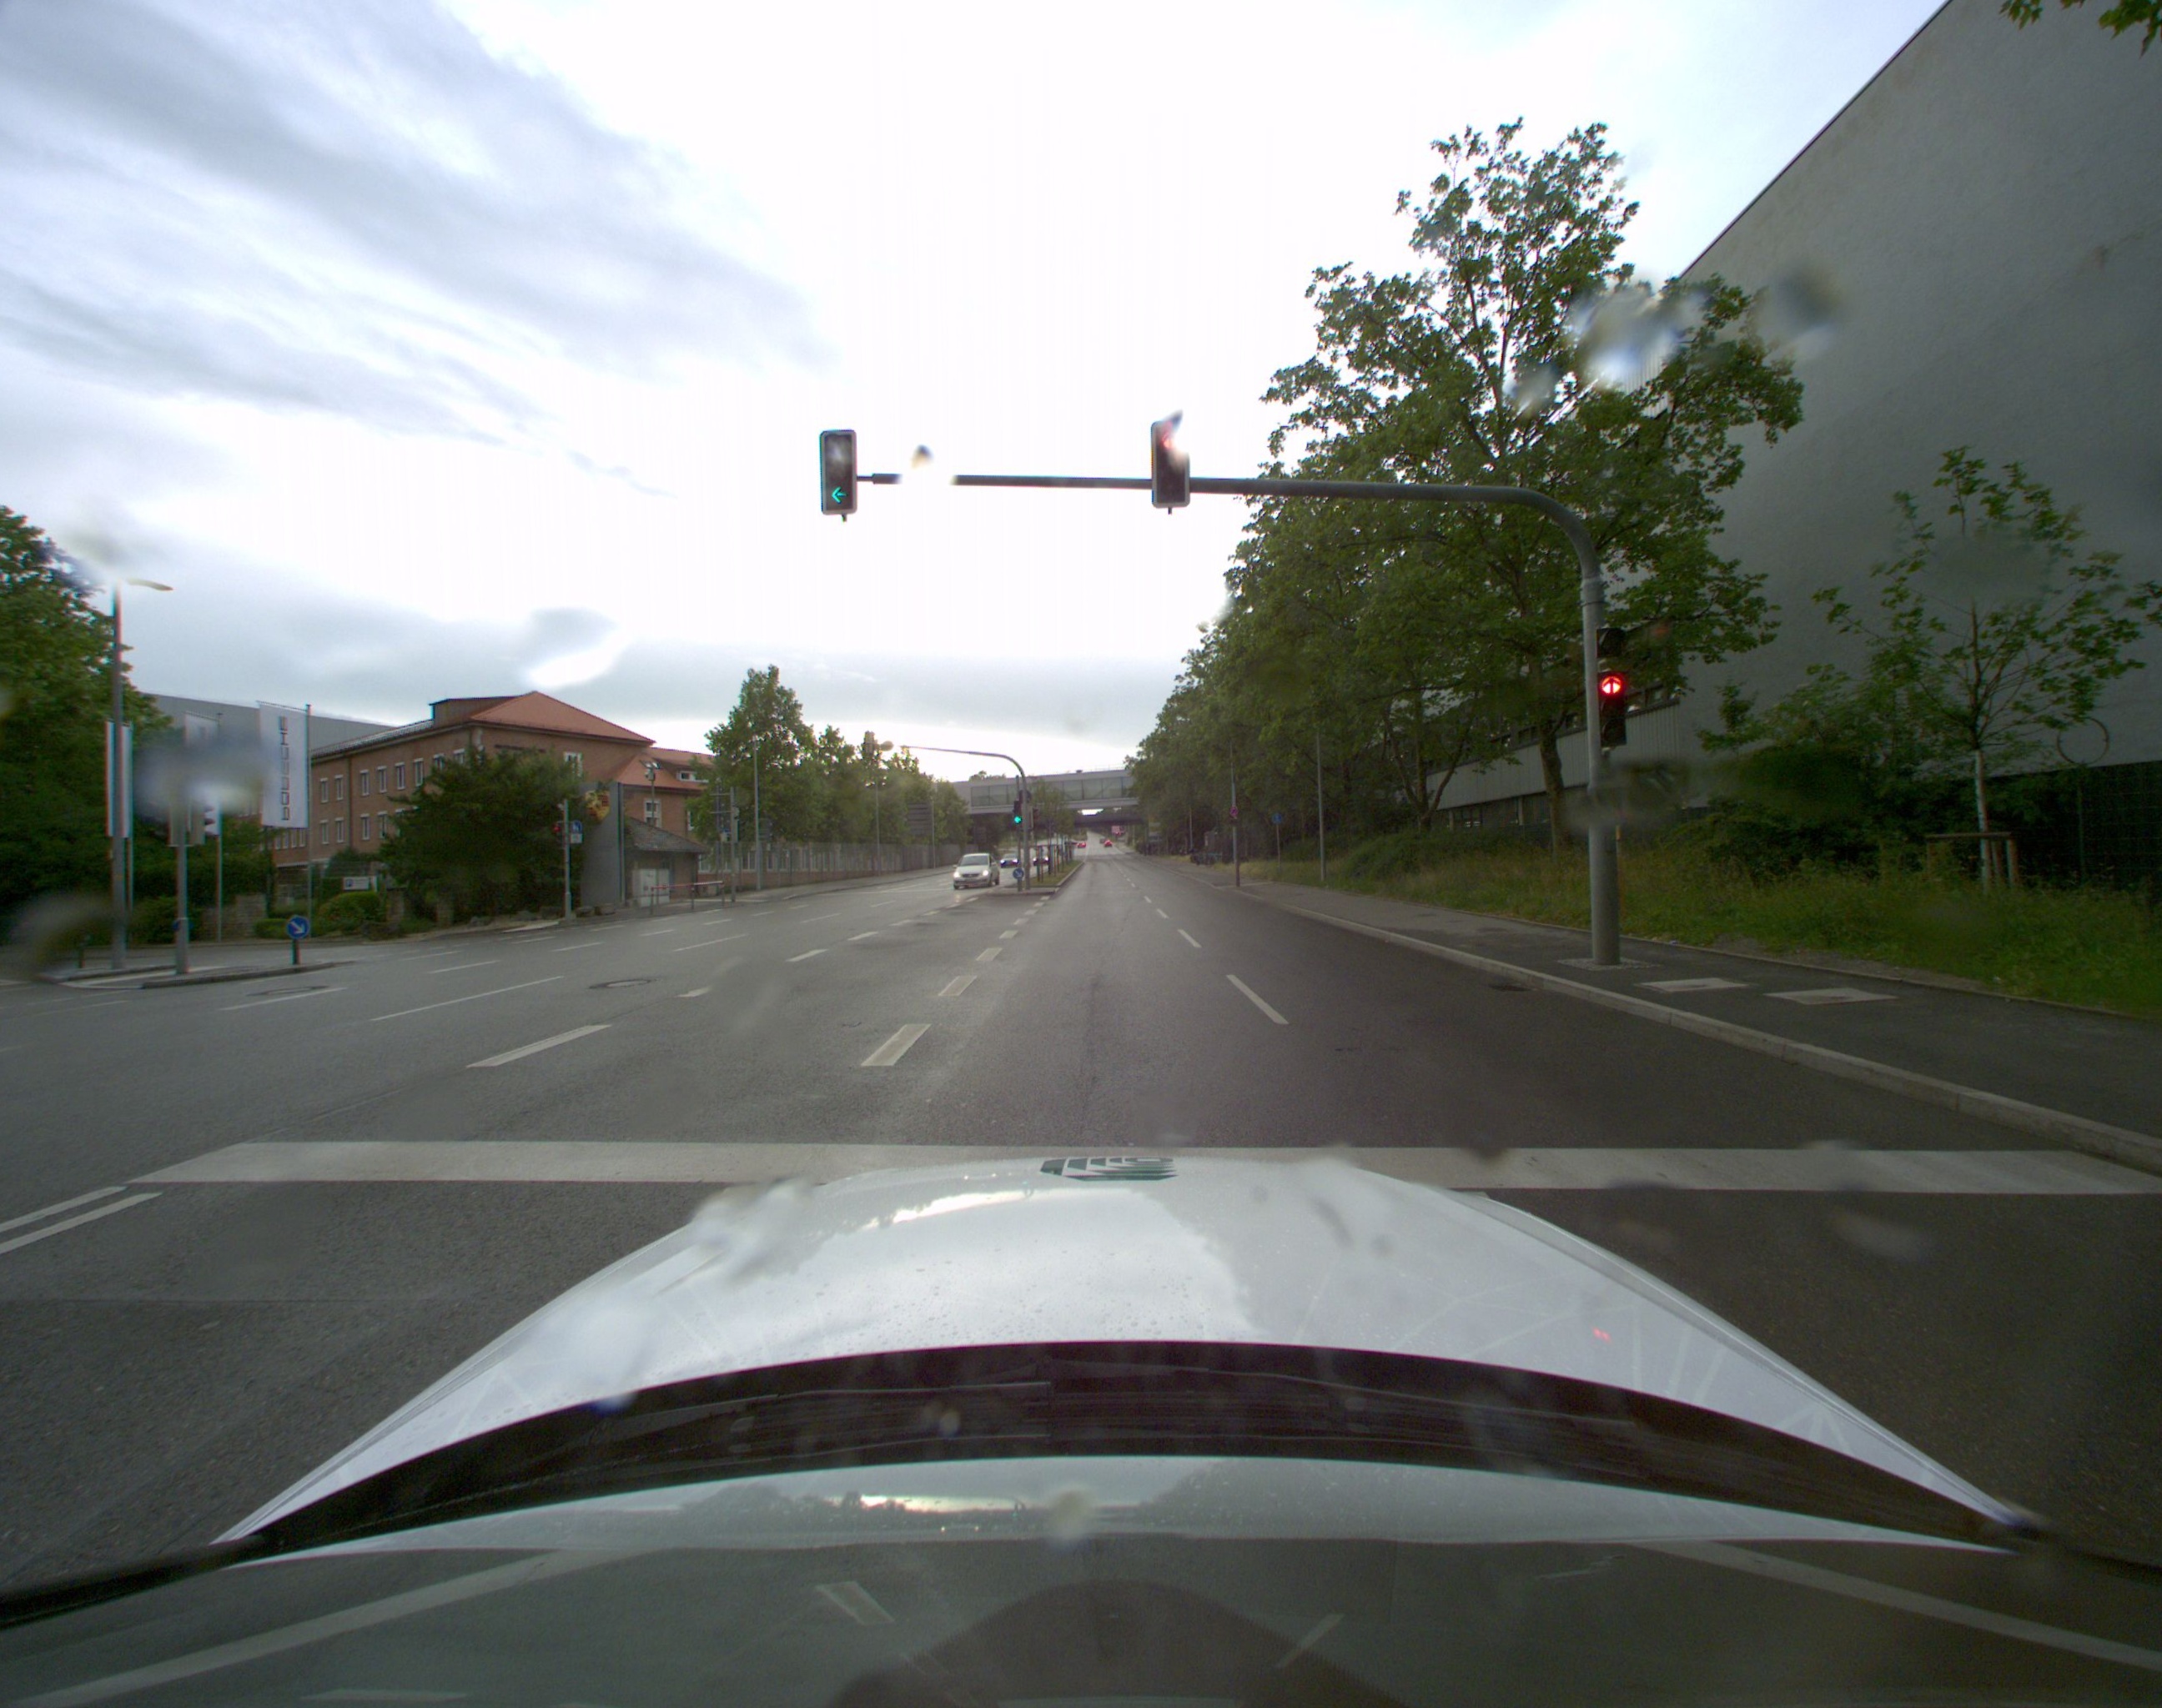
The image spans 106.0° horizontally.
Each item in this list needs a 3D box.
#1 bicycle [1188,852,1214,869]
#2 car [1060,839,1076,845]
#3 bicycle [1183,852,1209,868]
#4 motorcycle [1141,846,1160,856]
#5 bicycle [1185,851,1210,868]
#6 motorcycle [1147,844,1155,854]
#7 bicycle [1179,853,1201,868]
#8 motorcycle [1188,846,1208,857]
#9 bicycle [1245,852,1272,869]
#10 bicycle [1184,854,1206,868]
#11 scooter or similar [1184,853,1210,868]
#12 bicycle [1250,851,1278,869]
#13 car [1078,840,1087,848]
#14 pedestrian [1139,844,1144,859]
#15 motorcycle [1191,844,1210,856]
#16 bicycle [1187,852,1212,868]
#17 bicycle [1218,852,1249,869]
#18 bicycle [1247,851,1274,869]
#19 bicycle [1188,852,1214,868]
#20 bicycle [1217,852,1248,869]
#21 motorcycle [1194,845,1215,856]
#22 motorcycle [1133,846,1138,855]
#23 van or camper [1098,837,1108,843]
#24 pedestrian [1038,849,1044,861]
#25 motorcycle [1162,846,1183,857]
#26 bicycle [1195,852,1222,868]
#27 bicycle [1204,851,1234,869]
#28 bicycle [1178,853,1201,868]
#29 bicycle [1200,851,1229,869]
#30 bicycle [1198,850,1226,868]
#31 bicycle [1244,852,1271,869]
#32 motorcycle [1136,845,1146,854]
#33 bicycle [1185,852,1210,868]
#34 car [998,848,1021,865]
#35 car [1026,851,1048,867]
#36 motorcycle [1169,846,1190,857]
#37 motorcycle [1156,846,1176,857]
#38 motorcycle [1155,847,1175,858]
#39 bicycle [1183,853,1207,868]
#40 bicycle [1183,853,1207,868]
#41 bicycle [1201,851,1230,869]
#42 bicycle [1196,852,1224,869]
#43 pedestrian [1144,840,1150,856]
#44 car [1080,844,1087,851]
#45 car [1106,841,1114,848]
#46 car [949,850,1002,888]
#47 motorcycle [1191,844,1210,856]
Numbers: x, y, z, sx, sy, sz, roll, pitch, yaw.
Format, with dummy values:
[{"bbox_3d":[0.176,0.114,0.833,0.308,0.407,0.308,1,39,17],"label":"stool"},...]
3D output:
[{"bbox_3d":[9.593,0.489,65.022,1.982,1.328,0.576,0,-1,2],"label":"bicycle"},{"bbox_3d":[-3.793,-3.477,236.841,4.488,1.762,1.908,0,-1,5],"label":"car"},{"bbox_3d":[9.297,0.500,65.838,1.982,1.328,0.576,0,-1,2],"label":"bicycle"},{"bbox_3d":[8.929,-0.396,104.719,2.354,1.202,0.724,-3,0,9],"label":"motorcycle"},{"bbox_3d":[9.622,0.466,67.509,1.982,1.430,0.723,0,-1,2],"label":"bicycle"},{"bbox_3d":[10.473,-0.750,121.874,0.789,1.311,2.371,-3,0,-7],"label":"motorcycle"},{"bbox_3d":[9.973,0.627,74.316,1.955,1.328,0.654,0,-1,2],"label":"bicycle"},{"bbox_3d":[14.380,-0.349,100.117,2.354,1.202,0.724,-3,0,9],"label":"motorcycle"},{"bbox_3d":[13.784,0.490,63.132,1.982,1.328,0.576,0,-1,2],"label":"bicycle"},{"bbox_3d":[10.621,0.655,75.804,1.955,1.328,0.654,0,-1,2],"label":"bicycle"},{"bbox_3d":[9.092,0.536,63.890,1.982,1.138,0.541,0,-1,2],"label":"scooter or similar"},{"bbox_3d":[13.719,0.456,61.026,1.982,1.328,0.576,0,-1,2],"label":"bicycle"},{"bbox_3d":[0.348,-2.503,207.007,1.986,1.762,4.002,0,-1,2],"label":"car"},{"bbox_3d":[7.951,-0.305,106.841,0.619,2.013,0.606,-3,0,2],"label":"pedestrian"},{"bbox_3d":[15.858,-0.546,108.119,2.354,1.476,0.724,-3,0,9],"label":"motorcycle"},{"bbox_3d":[9.950,0.533,68.355,1.982,1.328,0.576,0,-1,2],"label":"bicycle"},{"bbox_3d":[10.086,0.421,53.787,1.982,1.094,0.541,0,-1,2],"label":"bicycle"},{"bbox_3d":[13.747,0.479,62.455,1.982,1.328,0.576,0,-1,2],"label":"bicycle"},{"bbox_3d":[9.292,0.489,63.122,1.982,1.242,0.541,0,-1,2],"label":"bicycle"},{"bbox_3d":[10.105,0.430,54.356,1.982,1.094,0.541,0,-1,2],"label":"bicycle"},{"bbox_3d":[14.971,-0.420,98.757,2.354,1.202,0.724,-3,0,9],"label":"motorcycle"},{"bbox_3d":[9.680,-0.545,144.665,0.787,1.533,2.376,-3,0,0],"label":"motorcycle"},{"bbox_3d":[6.892,-4.285,250.995,1.781,1.813,3.786,0,1,22],"label":"van or camper"},{"bbox_3d":[-6.479,0.146,132.035,0.871,2.004,0.853,-3,0,-6],"label":"pedestrian"},{"bbox_3d":[10.638,-0.300,94.769,2.354,1.202,0.724,-3,0,9],"label":"motorcycle"},{"bbox_3d":[9.644,0.469,61.739,1.982,1.242,0.541,0,-1,2],"label":"bicycle"},{"bbox_3d":[9.472,0.388,55.832,1.982,1.216,0.541,0,-1,2],"label":"bicycle"},{"bbox_3d":[9.696,0.598,72.604,1.955,1.328,0.654,0,-1,2],"label":"bicycle"},{"bbox_3d":[9.652,0.423,58.813,1.982,1.242,0.541,0,-1,2],"label":"bicycle"},{"bbox_3d":[9.690,0.378,60.097,1.982,1.340,0.541,0,-1,2],"label":"bicycle"},{"bbox_3d":[13.815,0.500,63.771,1.982,1.328,0.576,0,-1,2],"label":"bicycle"},{"bbox_3d":[9.235,-0.718,125.377,0.792,1.311,2.363,-3,0,-16],"label":"motorcycle"},{"bbox_3d":[9.587,0.517,66.776,1.982,1.328,0.576,0,-1,2],"label":"bicycle"},{"bbox_3d":[-7.345,0.258,84.257,1.870,1.624,3.780,-2,0,2],"label":"car"},{"bbox_3d":[-4.621,0.538,85.994,1.870,1.624,3.780,-2,0,2],"label":"car"},{"bbox_3d":[11.682,-0.296,96.773,2.354,1.202,0.724,-3,0,9],"label":"motorcycle"},{"bbox_3d":[10.598,-0.339,101.502,2.354,1.202,0.724,-3,0,9],"label":"motorcycle"},{"bbox_3d":[10.313,-0.164,99.735,2.354,1.202,0.724,-3,0,9],"label":"motorcycle"},{"bbox_3d":[9.647,0.554,69.074,1.982,1.328,0.576,0,-1,2],"label":"bicycle"},{"bbox_3d":[9.827,0.563,70.308,1.953,1.328,0.576,0,-1,2],"label":"bicycle"},{"bbox_3d":[9.609,0.415,58.019,1.982,1.233,0.541,0,-1,2],"label":"bicycle"},{"bbox_3d":[9.618,0.454,60.790,1.982,1.242,0.541,0,-1,2],"label":"bicycle"},{"bbox_3d":[8.664,-0.758,106.788,0.619,2.013,0.606,-3,0,2],"label":"pedestrian"},{"bbox_3d":[0.672,-1.764,212.647,1.877,1.762,3.970,0,-1,2],"label":"car"},{"bbox_3d":[7.182,-2.351,203.170,1.868,1.497,4.070,0,-1,2],"label":"car"},{"bbox_3d":[-4.986,0.683,38.986,1.870,1.624,3.780,-2,0,2],"label":"car"},{"bbox_3d":[15.713,-0.522,106.887,2.354,1.476,0.724,-3,0,9],"label":"motorcycle"}]
